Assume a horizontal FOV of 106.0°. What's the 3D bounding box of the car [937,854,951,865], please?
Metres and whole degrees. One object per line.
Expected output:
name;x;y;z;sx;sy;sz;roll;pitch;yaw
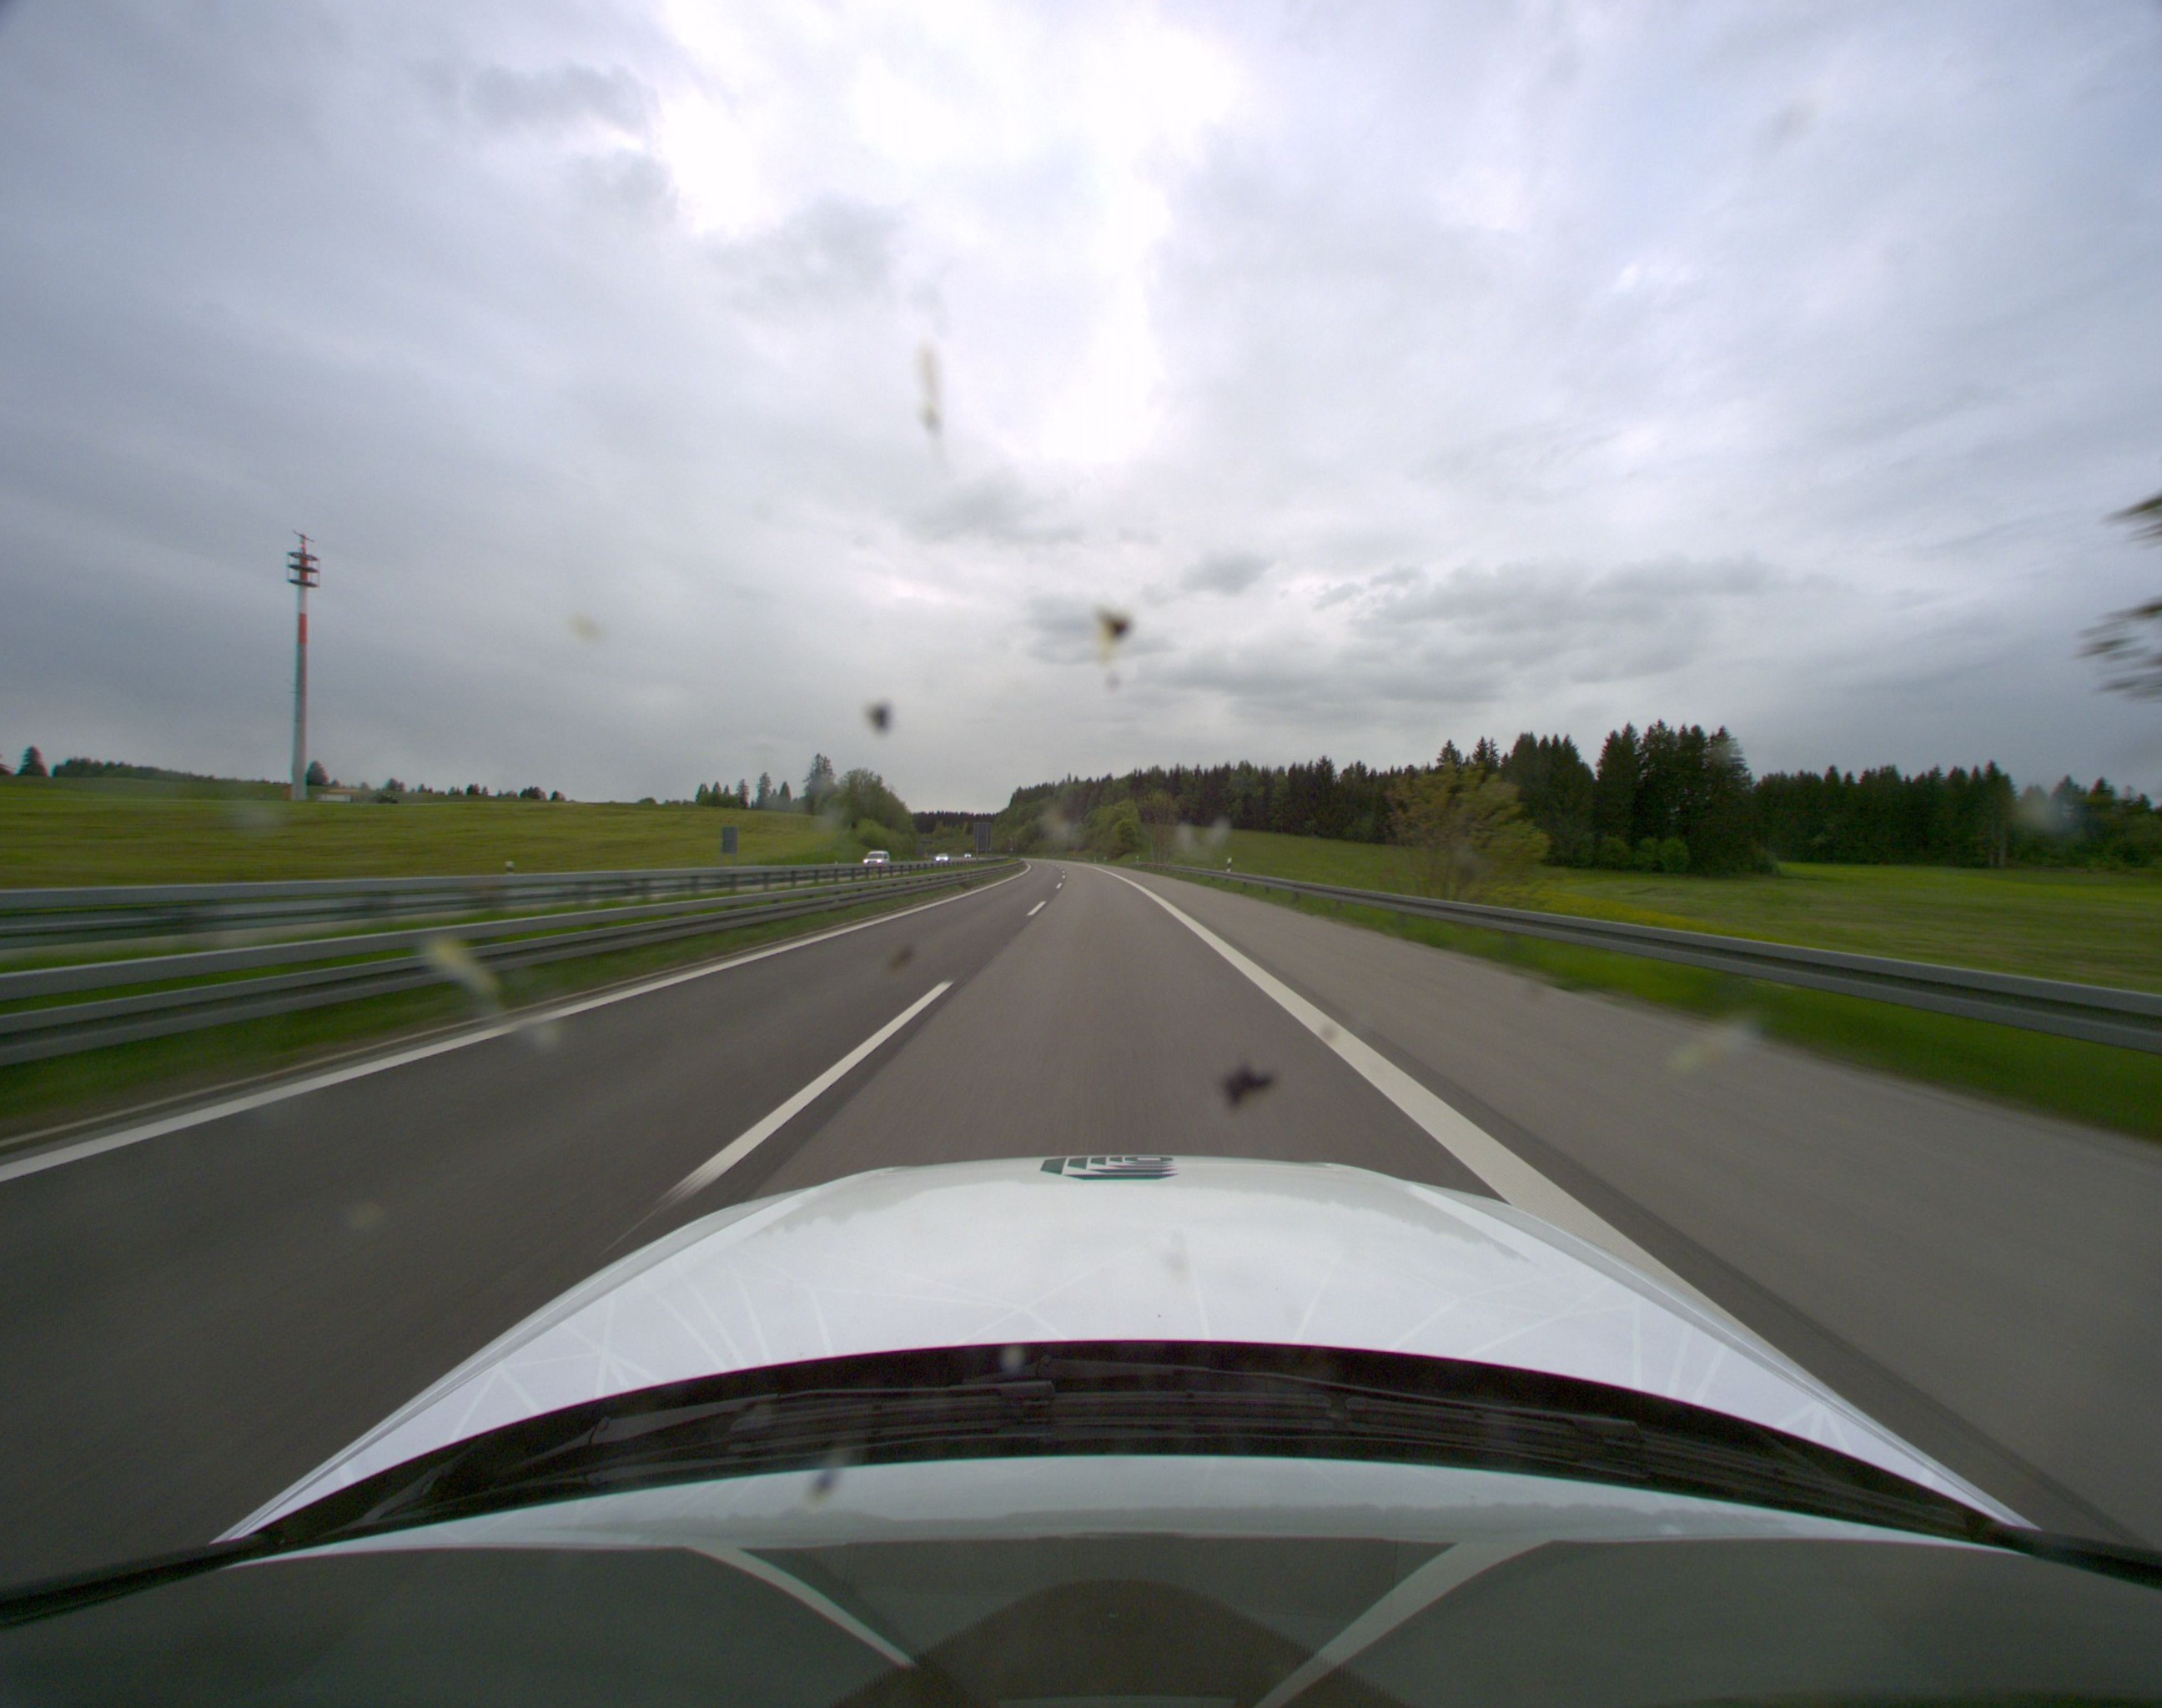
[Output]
car;-23.618;0.963;140.312;2.033;1.690;5.044;2;0;-6

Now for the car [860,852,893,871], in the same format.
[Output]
car;-19.521;0.674;77.803;1.988;1.686;4.624;2;0;-1
